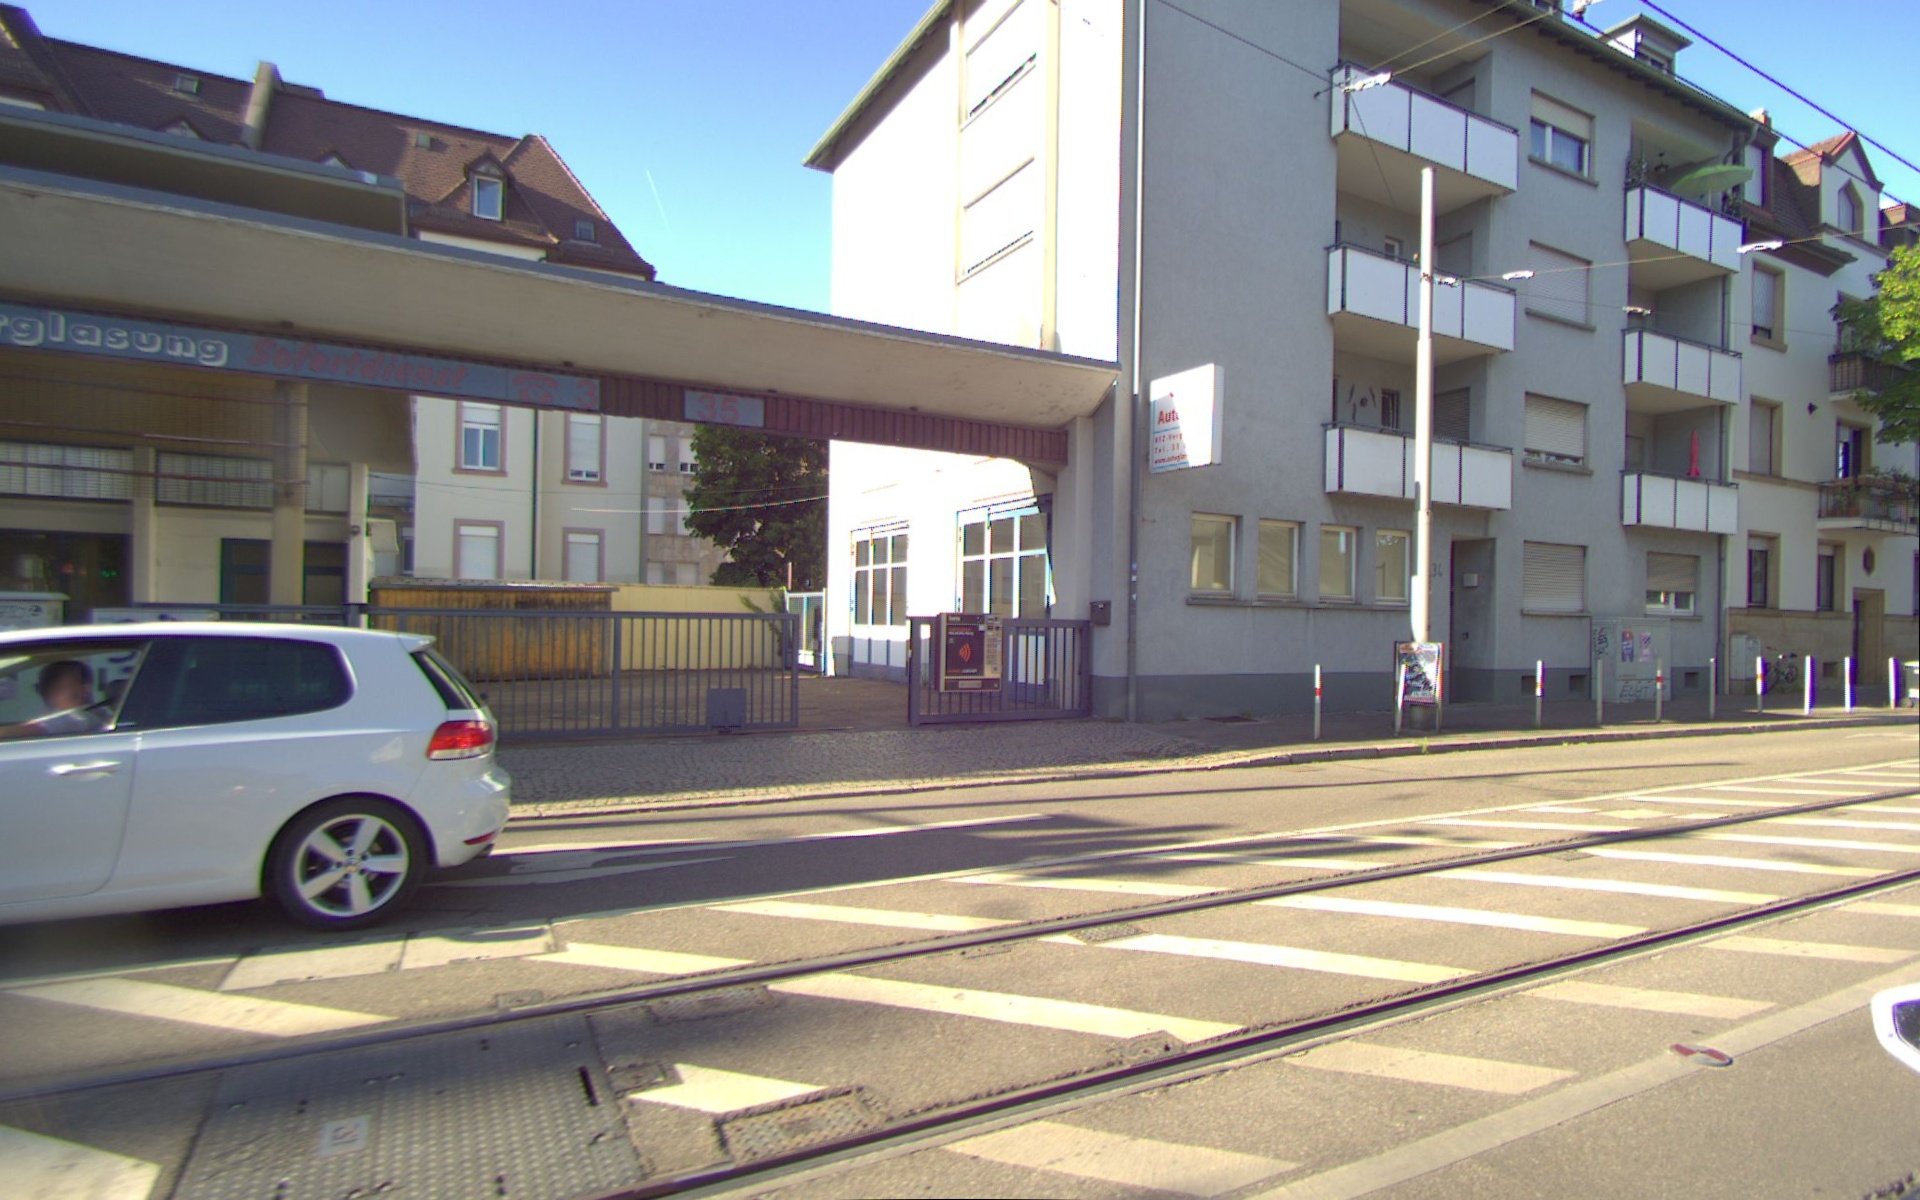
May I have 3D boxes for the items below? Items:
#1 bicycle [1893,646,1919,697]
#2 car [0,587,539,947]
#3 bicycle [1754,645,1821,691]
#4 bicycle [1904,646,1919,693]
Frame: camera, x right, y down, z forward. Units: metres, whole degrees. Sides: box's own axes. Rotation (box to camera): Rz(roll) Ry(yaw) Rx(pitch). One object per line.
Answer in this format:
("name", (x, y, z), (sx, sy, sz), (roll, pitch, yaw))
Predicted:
("bicycle", (20.990, 1.548, 21.357), (1.584, 1.058, 0.457), (2, 0, 30))
("car", (-4.382, 0.716, 4.915), (4.138, 1.477, 1.784), (1, -2, -28))
("bicycle", (19.300, 1.567, 23.418), (1.995, 1.020, 0.504), (1, -1, -29))
("bicycle", (22.326, 1.593, 22.482), (1.686, 1.047, 0.442), (2, 0, 42))
